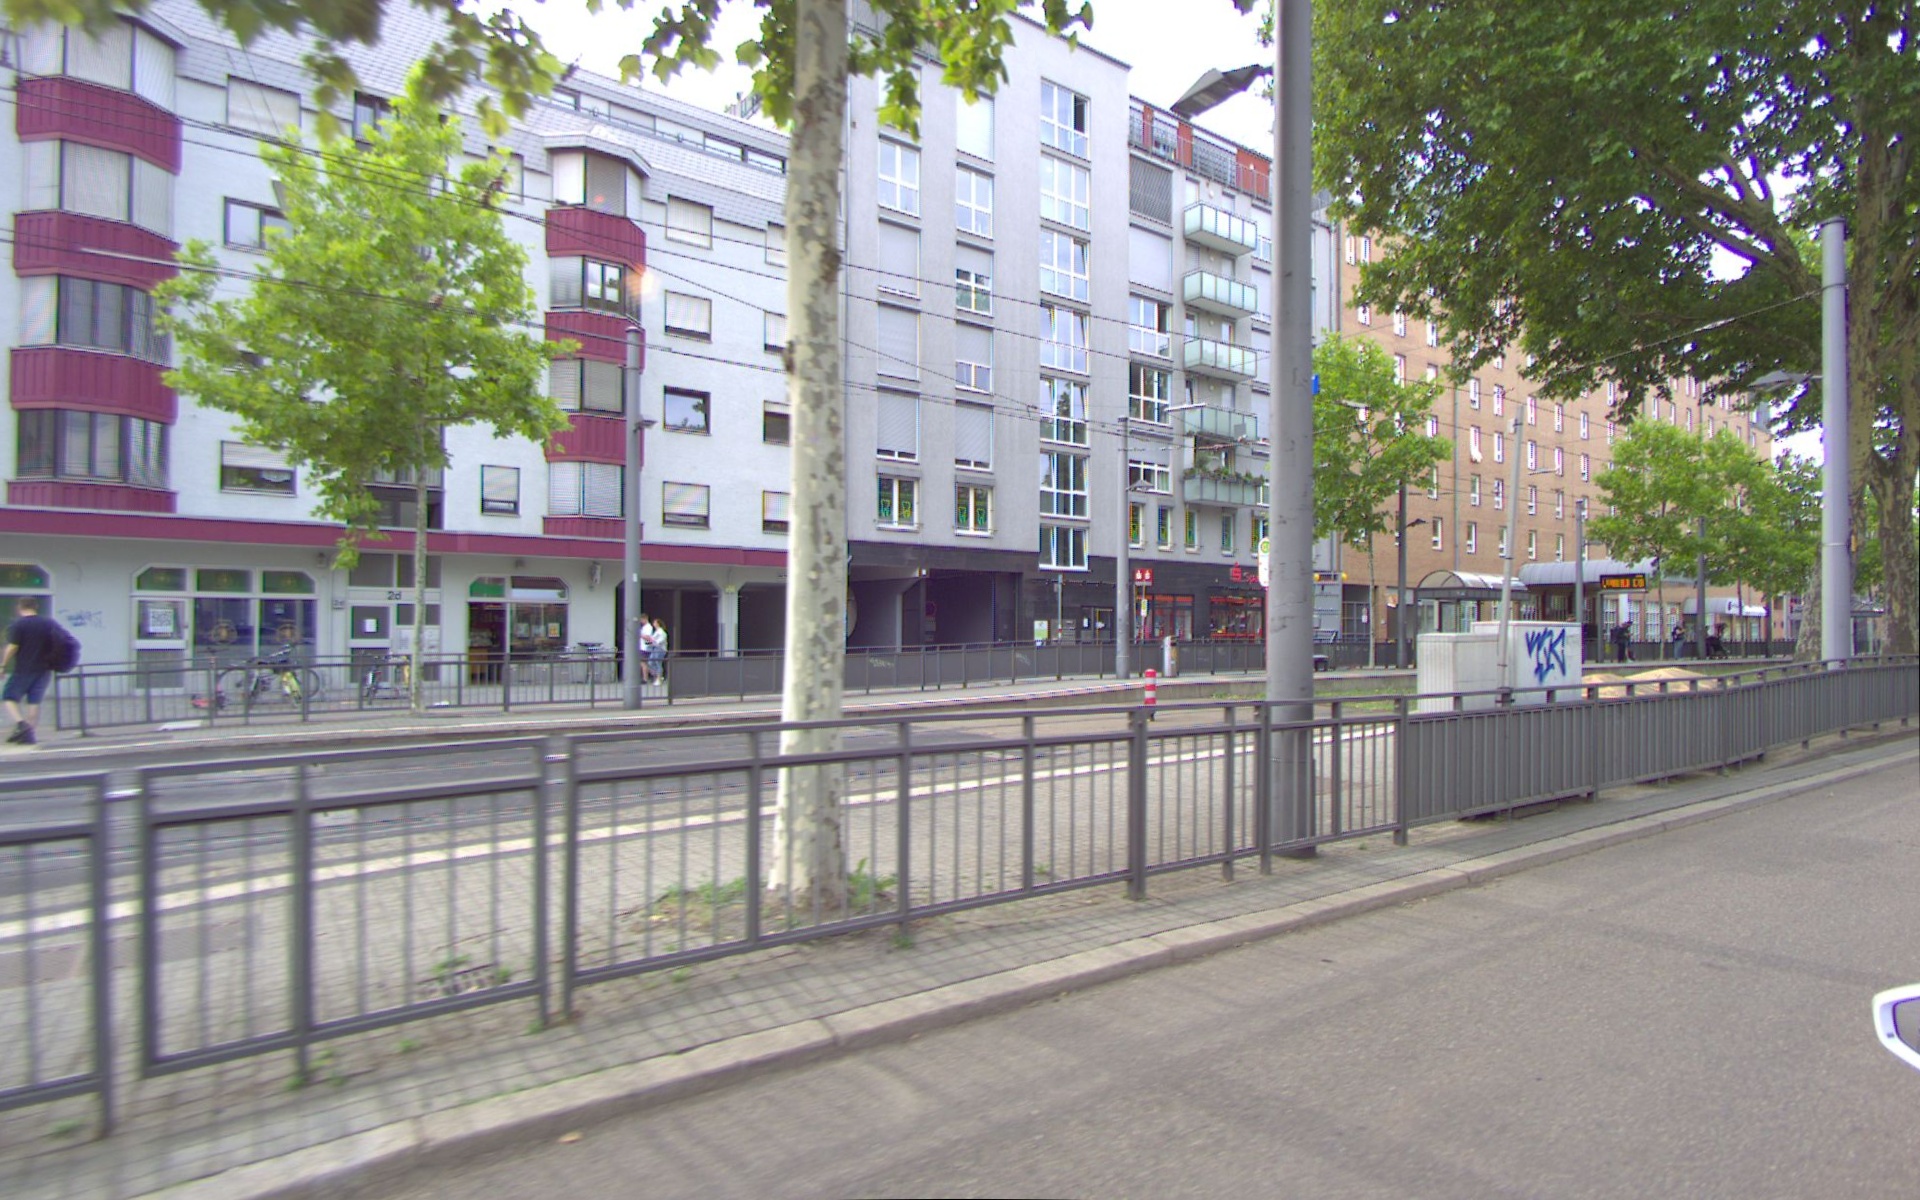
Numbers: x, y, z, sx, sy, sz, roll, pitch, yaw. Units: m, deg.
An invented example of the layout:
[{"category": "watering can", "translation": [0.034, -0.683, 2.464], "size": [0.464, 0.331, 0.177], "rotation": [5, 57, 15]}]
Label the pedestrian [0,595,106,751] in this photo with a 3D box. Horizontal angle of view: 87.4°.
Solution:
[{"category": "pedestrian", "translation": [-11.722, 0.913, 12.791], "size": [0.983, 1.924, 0.805], "rotation": [0, -1, 0]}]

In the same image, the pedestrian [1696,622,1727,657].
[{"category": "pedestrian", "translation": [35.381, 1.842, 47.281], "size": [0.843, 1.621, 0.987], "rotation": [1, -2, -38]}]

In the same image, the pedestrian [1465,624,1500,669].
[{"category": "pedestrian", "translation": [18.068, 1.601, 34.736], "size": [0.778, 1.557, 0.808], "rotation": [1, -2, -38]}]

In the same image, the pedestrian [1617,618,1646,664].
[{"category": "pedestrian", "translation": [28.340, 1.739, 42.400], "size": [0.778, 1.912, 0.808], "rotation": [1, -2, -38]}]

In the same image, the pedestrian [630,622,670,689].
[{"category": "pedestrian", "translation": [-8.527, 1.502, 27.608], "size": [0.887, 1.798, 0.754], "rotation": [0, -1, -31]}]

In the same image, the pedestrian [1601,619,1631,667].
[{"category": "pedestrian", "translation": [26.472, 1.719, 40.524], "size": [0.778, 1.912, 0.808], "rotation": [1, -2, -38]}]

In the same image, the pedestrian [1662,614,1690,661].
[{"category": "pedestrian", "translation": [31.334, 1.624, 43.964], "size": [0.778, 2.019, 0.809], "rotation": [1, -2, -38]}]

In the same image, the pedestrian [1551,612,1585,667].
[{"category": "pedestrian", "translation": [21.691, 1.397, 35.838], "size": [0.778, 1.912, 0.808], "rotation": [1, -2, -38]}]

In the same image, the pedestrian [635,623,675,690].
[{"category": "pedestrian", "translation": [-8.234, 1.507, 27.136], "size": [0.887, 1.757, 0.754], "rotation": [0, -1, -31]}]

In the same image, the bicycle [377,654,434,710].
[{"category": "bicycle", "translation": [-12.195, 1.778, 22.067], "size": [0.705, 1.032, 1.861], "rotation": [1, 1, -42]}]

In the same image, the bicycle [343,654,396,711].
[{"category": "bicycle", "translation": [-12.695, 1.747, 21.579], "size": [0.623, 1.032, 1.861], "rotation": [1, 1, -42]}]

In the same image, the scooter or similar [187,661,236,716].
[{"category": "scooter or similar", "translation": [-14.850, 1.740, 19.915], "size": [1.154, 1.001, 0.350], "rotation": [2, 0, 32]}]

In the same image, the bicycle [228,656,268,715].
[{"category": "bicycle", "translation": [-14.546, 1.719, 20.511], "size": [0.475, 1.032, 1.710], "rotation": [1, 1, -42]}]

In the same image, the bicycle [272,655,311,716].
[{"category": "bicycle", "translation": [-13.824, 1.732, 20.748], "size": [0.621, 1.032, 2.160], "rotation": [1, 1, -34]}]
